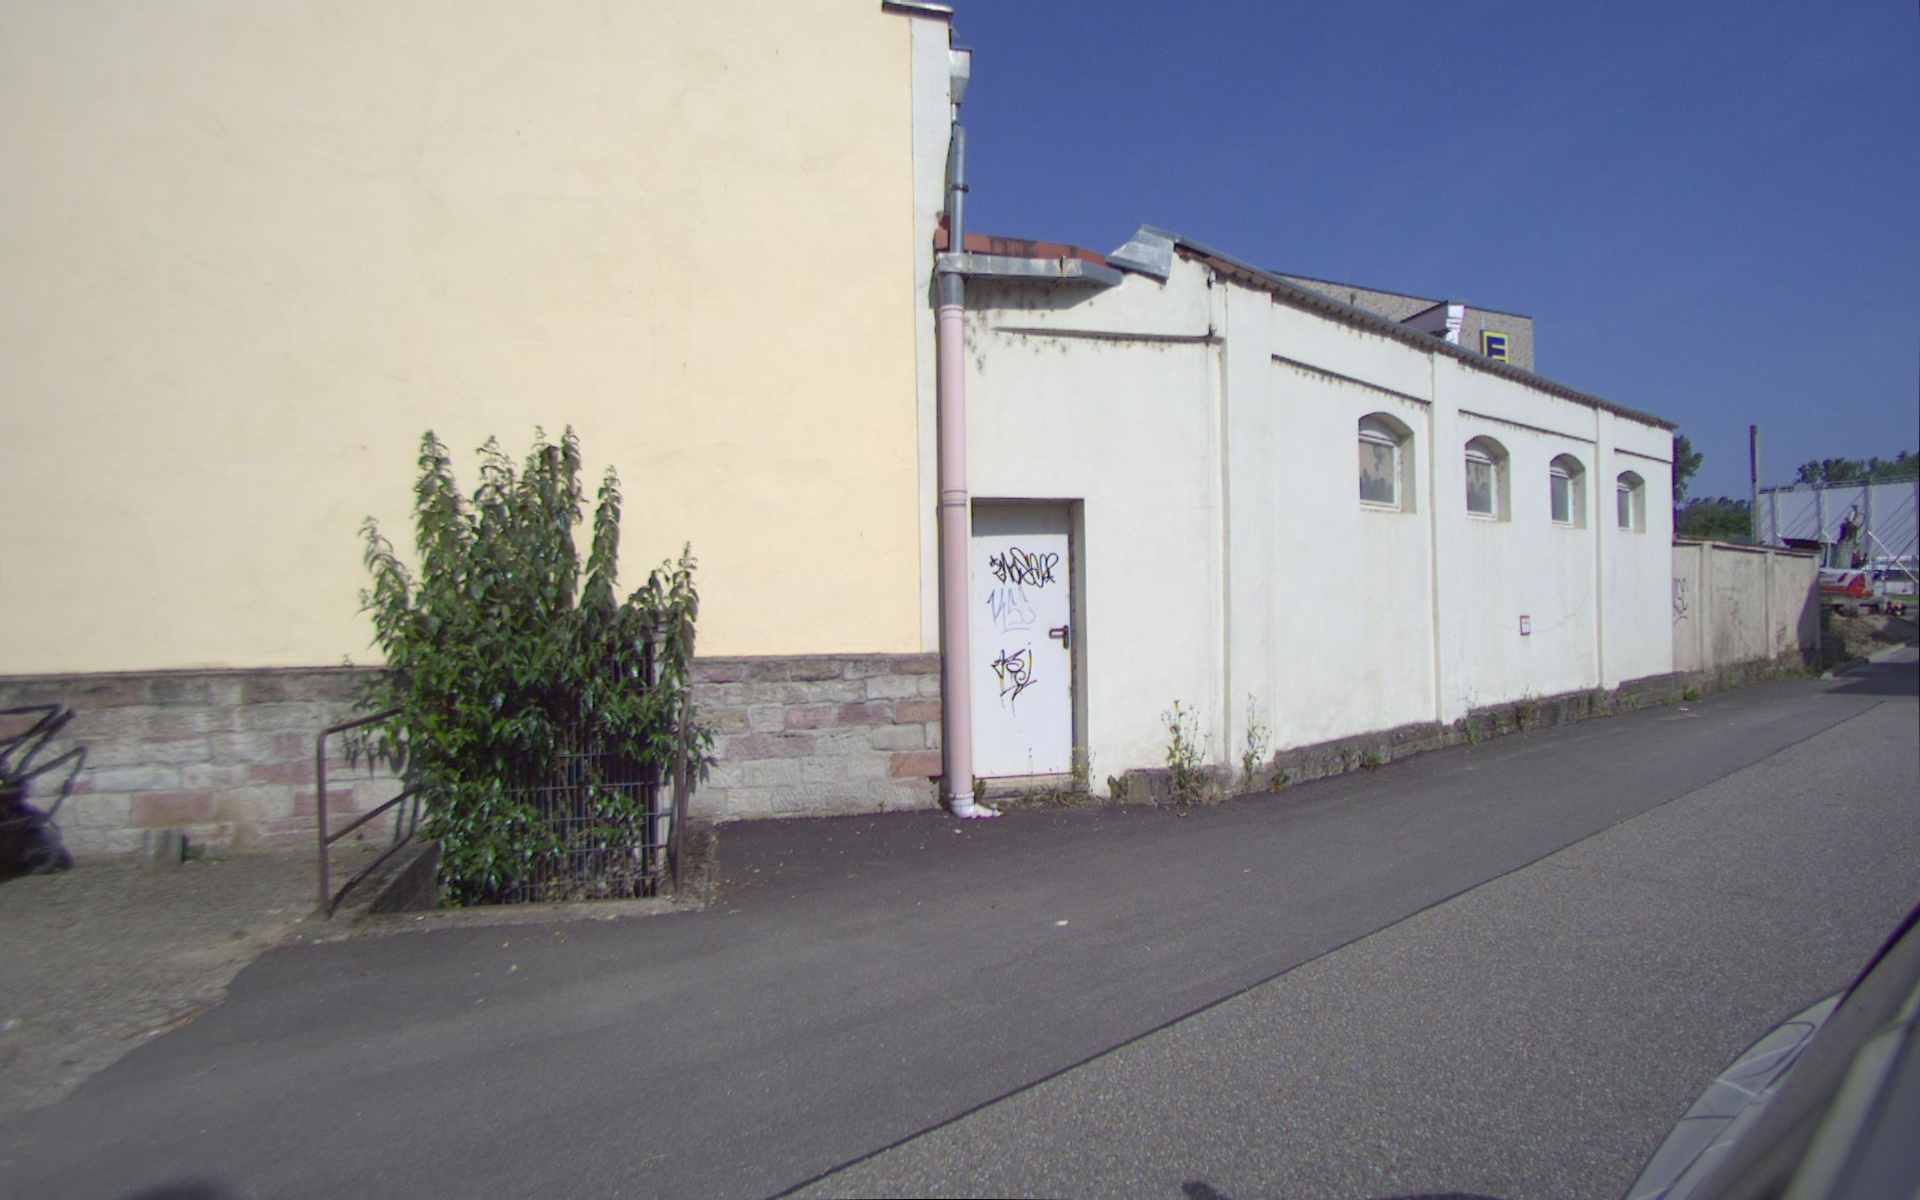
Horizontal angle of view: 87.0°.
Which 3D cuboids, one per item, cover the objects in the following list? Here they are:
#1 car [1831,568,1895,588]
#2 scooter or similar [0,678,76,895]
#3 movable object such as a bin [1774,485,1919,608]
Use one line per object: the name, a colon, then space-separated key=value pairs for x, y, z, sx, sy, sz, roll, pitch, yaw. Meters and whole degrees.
car: x=81.972 y=-1.973 z=91.910 sx=1.747 sy=1.594 sz=4.017 roll=0 pitch=-3 yaw=-38
scooter or similar: x=-5.520 y=0.992 z=5.429 sx=0.989 sy=1.077 sz=0.623 roll=0 pitch=0 yaw=-10
movable object such as a bin: x=31.765 y=-1.829 z=36.025 sx=7.655 sy=3.904 sz=2.300 roll=-2 pitch=-2 yaw=-37
